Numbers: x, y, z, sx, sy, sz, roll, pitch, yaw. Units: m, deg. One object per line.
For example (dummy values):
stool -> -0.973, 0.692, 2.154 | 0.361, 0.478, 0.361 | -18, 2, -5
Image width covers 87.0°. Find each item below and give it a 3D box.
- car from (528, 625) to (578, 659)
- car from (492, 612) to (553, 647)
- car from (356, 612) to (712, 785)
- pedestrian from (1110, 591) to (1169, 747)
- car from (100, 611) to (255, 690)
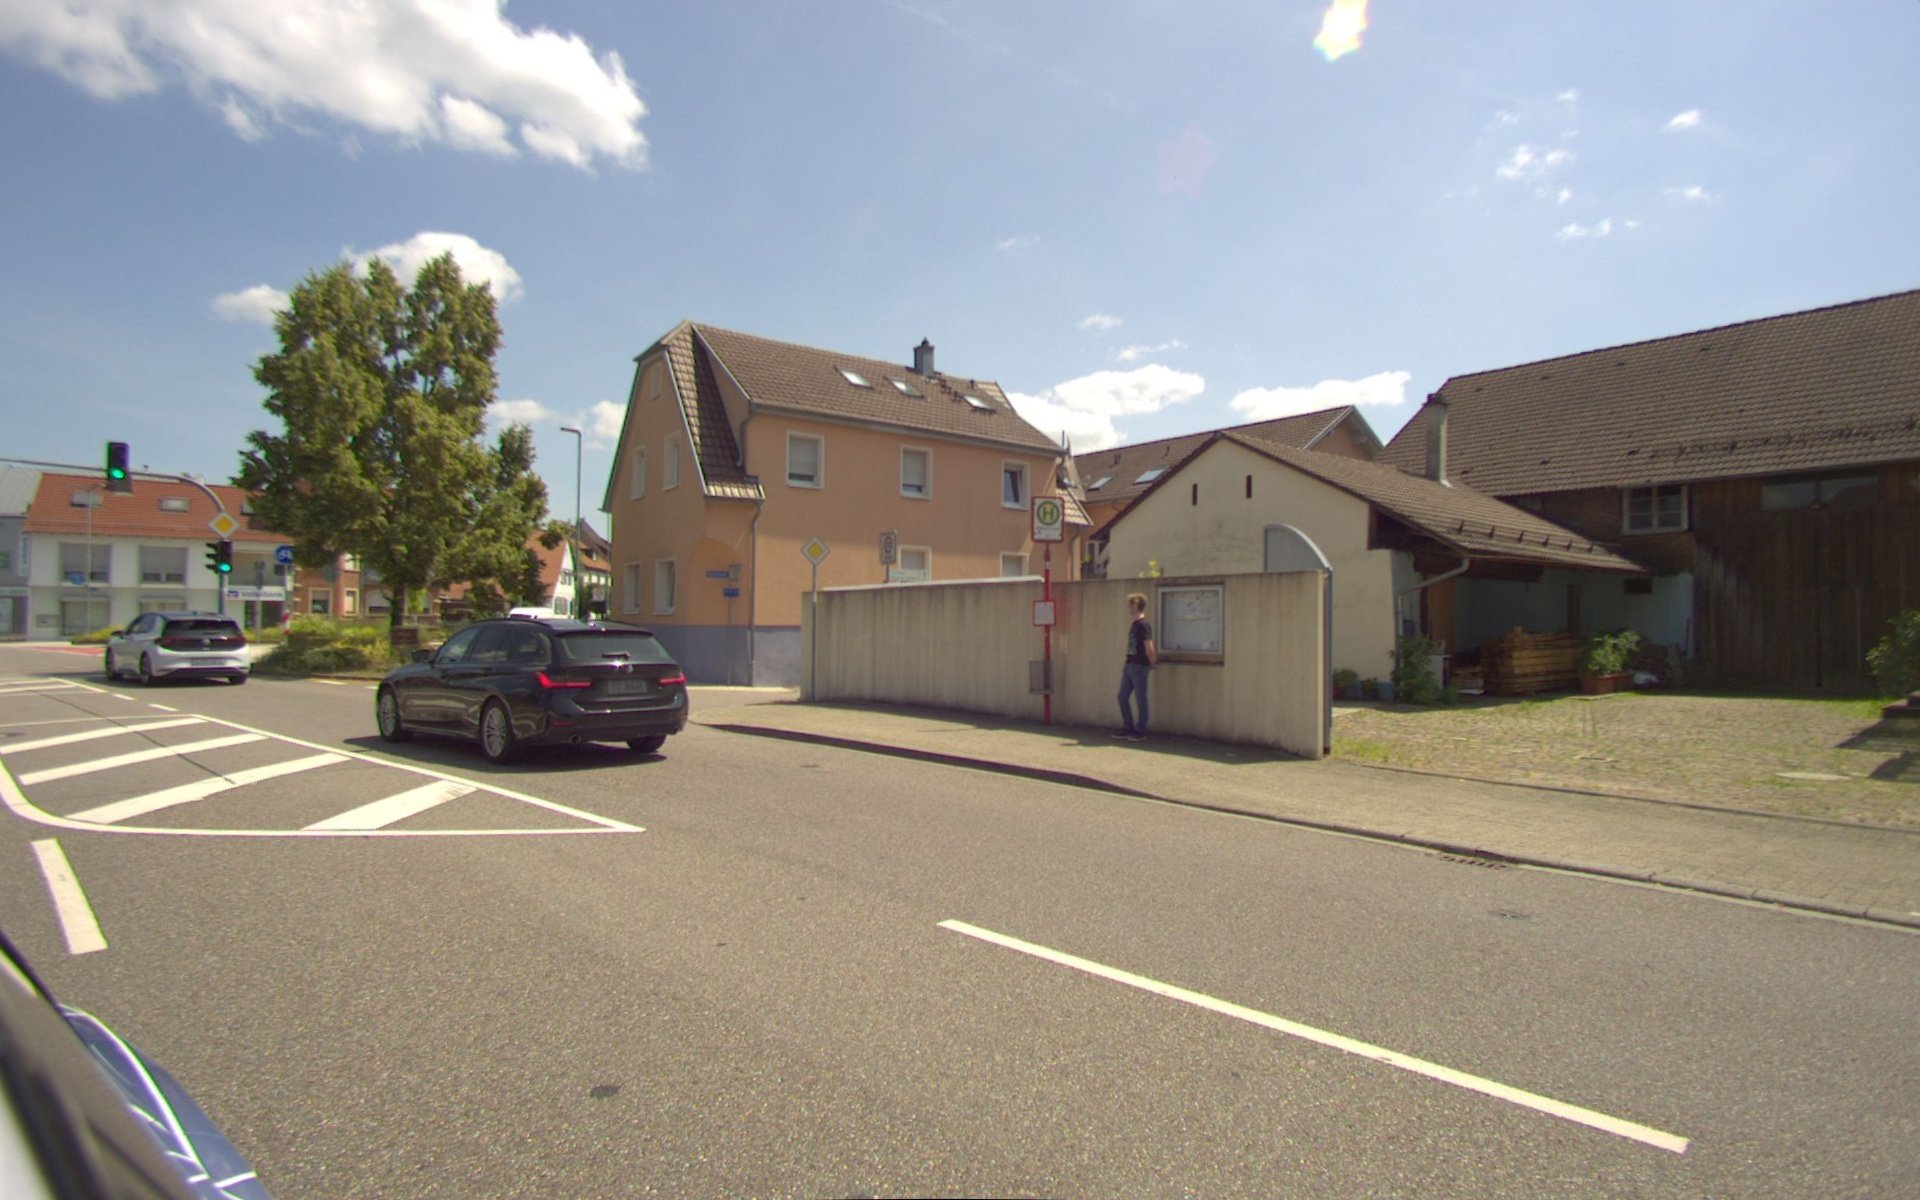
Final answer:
car -> -24.736, 2.544, 61.605 | 1.968, 2.029, 4.007 | 1, -2, -9
car -> -31.684, 2.148, 73.499 | 2.143, 2.363, 5.111 | 1, -2, 0
car -> -4.810, 0.932, 11.126 | 4.418, 1.504, 1.775 | 0, -2, 40
pedestrian -> 2.106, 0.796, 11.898 | 0.428, 1.778, 0.558 | 2, -2, -29
car -> -16.931, 1.039, 21.832 | 4.130, 1.519, 1.777 | 0, -2, 40
